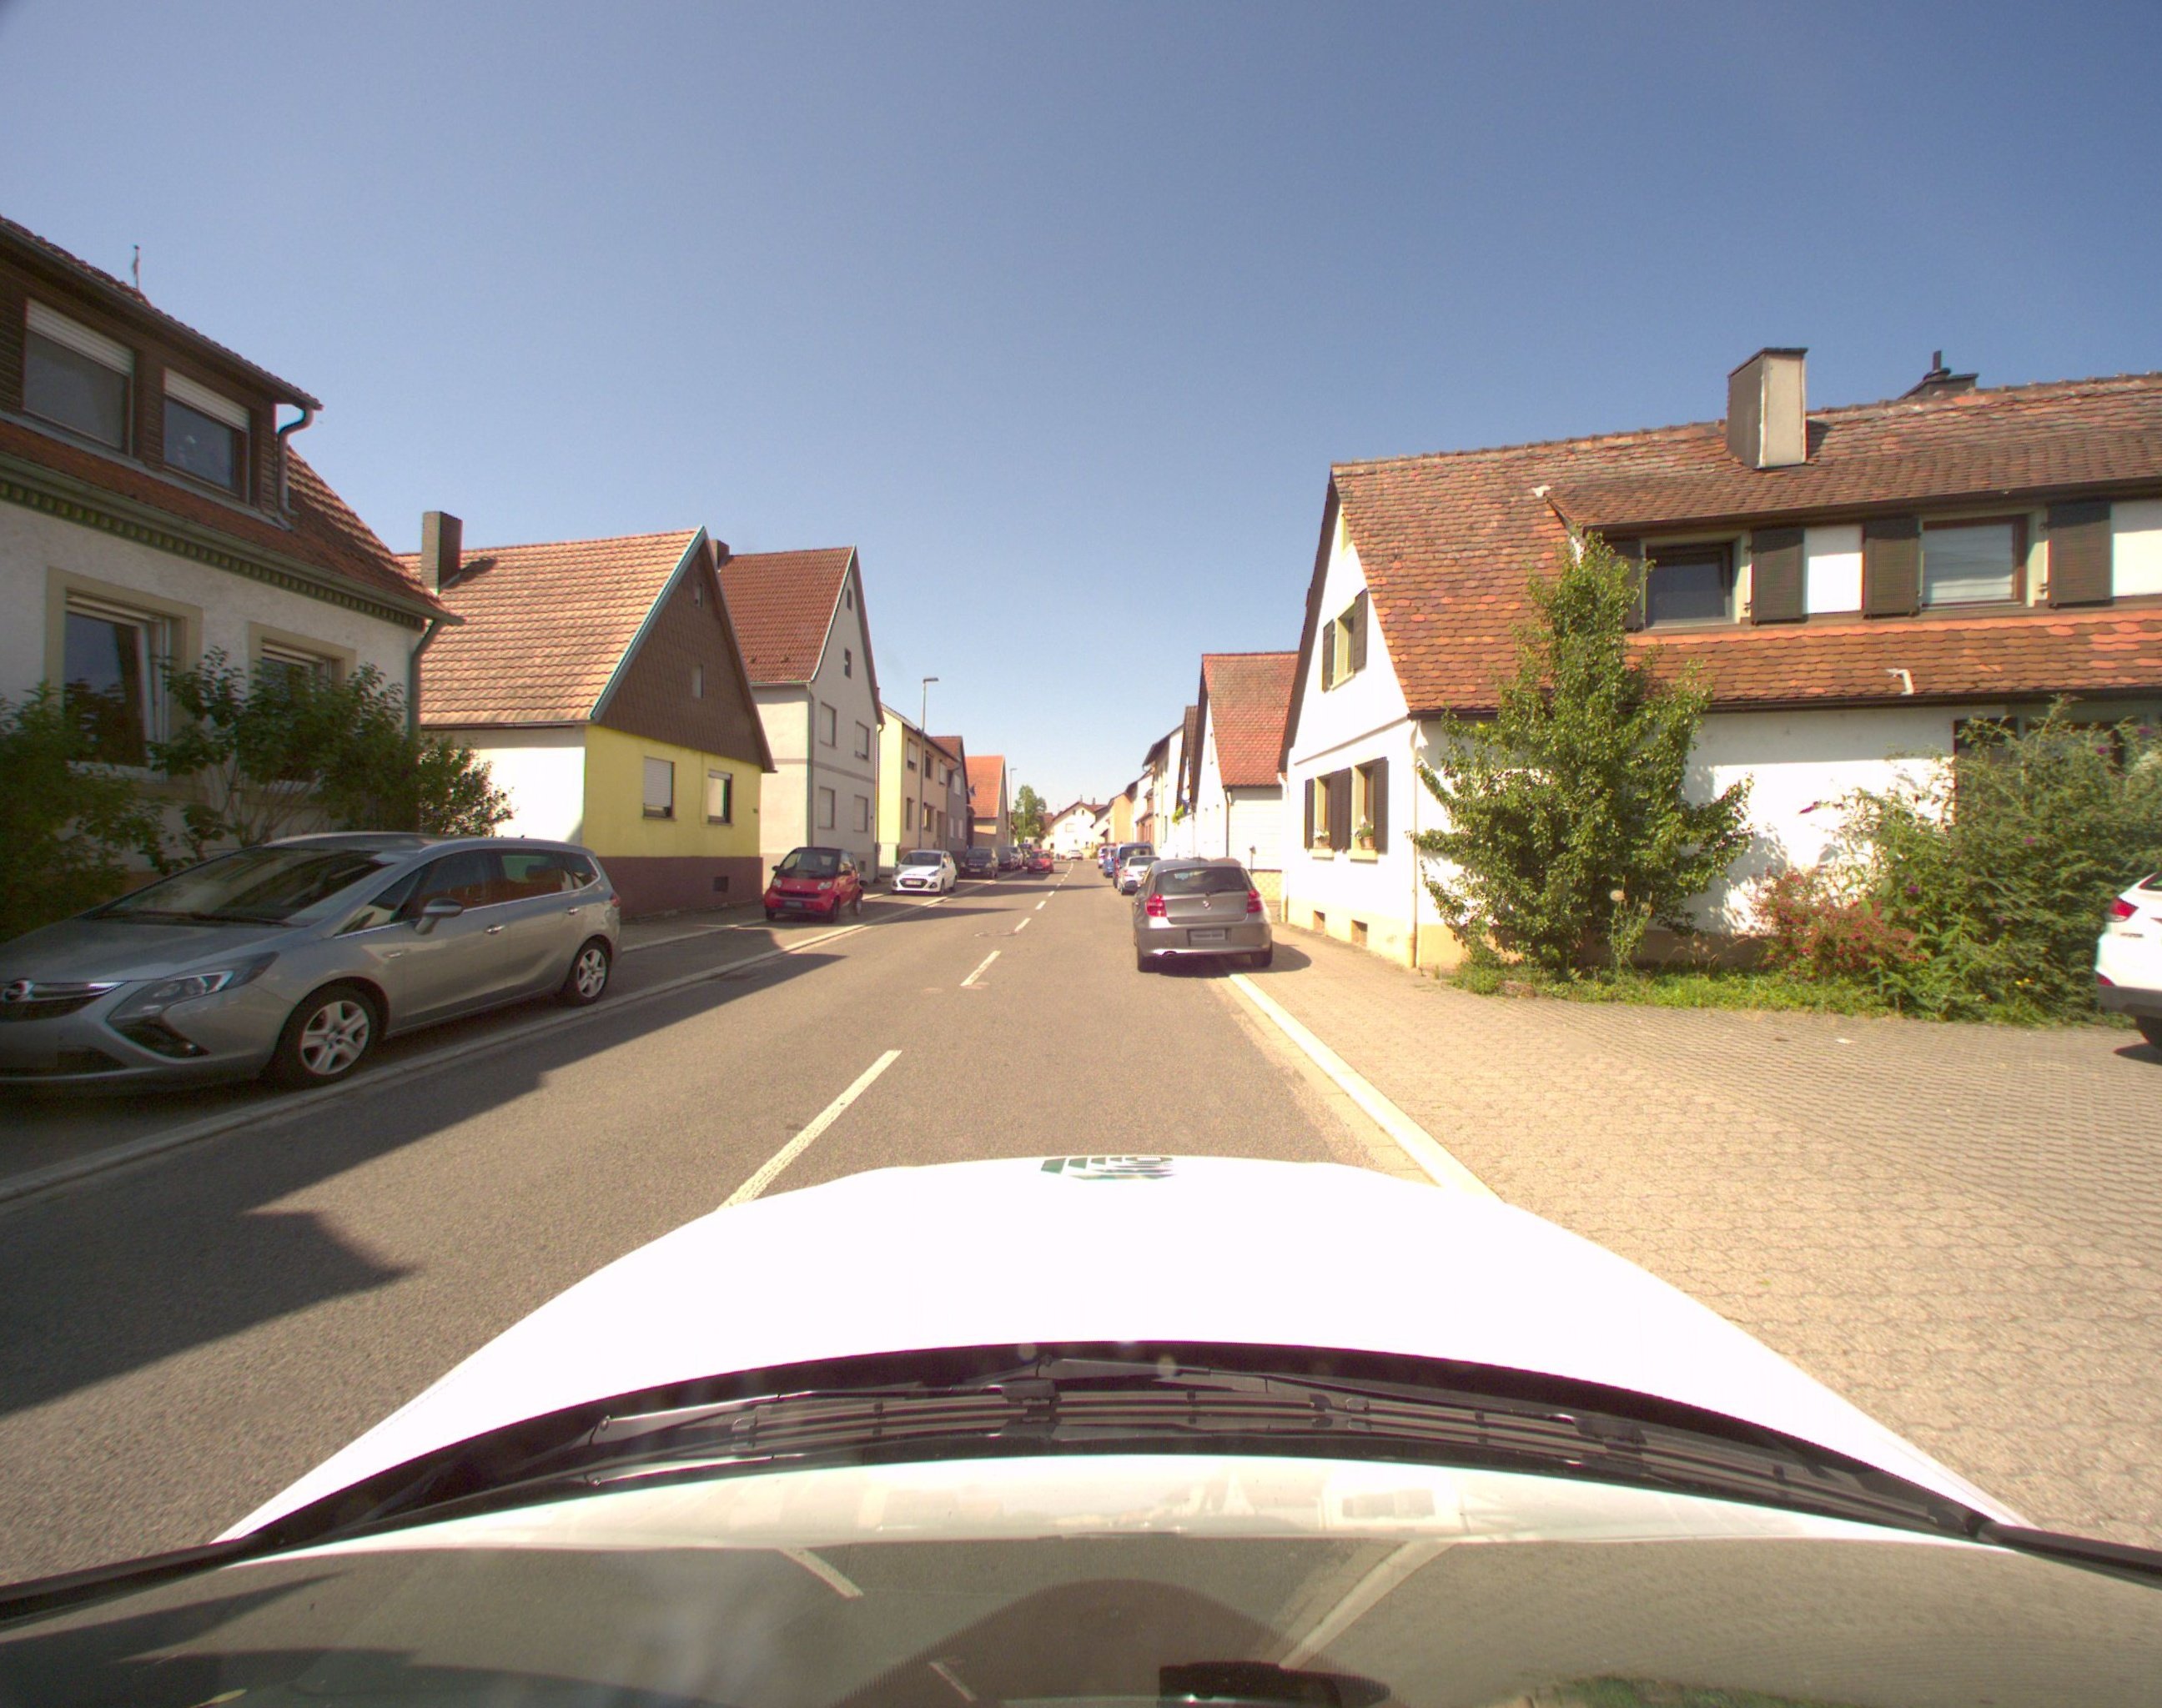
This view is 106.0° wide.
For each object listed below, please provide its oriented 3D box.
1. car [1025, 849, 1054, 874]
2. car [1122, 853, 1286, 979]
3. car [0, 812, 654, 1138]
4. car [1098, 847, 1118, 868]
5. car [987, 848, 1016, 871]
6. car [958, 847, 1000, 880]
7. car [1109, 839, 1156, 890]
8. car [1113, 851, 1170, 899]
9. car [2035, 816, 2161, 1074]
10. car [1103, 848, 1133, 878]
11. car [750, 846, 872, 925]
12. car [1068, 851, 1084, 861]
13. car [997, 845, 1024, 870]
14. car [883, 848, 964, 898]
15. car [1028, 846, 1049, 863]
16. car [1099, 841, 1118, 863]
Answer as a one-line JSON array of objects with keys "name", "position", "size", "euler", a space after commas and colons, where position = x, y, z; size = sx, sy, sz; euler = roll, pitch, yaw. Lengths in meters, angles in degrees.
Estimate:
[{"name": "car", "position": [-2.608, 0.477, 51.691], "size": [1.596, 1.489, 3.625], "euler": [2, 0, 0]}, {"name": "car", "position": [1.540, 0.726, 11.482], "size": [1.699, 1.433, 3.889], "euler": [-2, 0, 0]}, {"name": "car", "position": [-5.650, 0.601, 6.484], "size": [1.866, 1.636, 4.666], "euler": [2, 0, 2]}, {"name": "car", "position": [2.024, 0.228, 61.855], "size": [1.416, 1.515, 3.303], "euler": [2, 0, 0]}, {"name": "car", "position": [-5.166, 0.360, 53.367], "size": [1.499, 1.453, 3.509], "euler": [0, 0, 1]}, {"name": "car", "position": [-5.133, 0.455, 41.440], "size": [1.614, 1.577, 3.961], "euler": [2, 0, 0]}, {"name": "car", "position": [2.040, 0.394, 33.183], "size": [1.644, 1.910, 3.625], "euler": [2, 0, 0]}, {"name": "car", "position": [2.051, 0.690, 28.269], "size": [1.699, 1.496, 3.452], "euler": [2, 0, 0]}, {"name": "car", "position": [9.015, 0.590, 4.898], "size": [4.152, 1.657, 1.815], "euler": [0, -1, 6]}, {"name": "car", "position": [1.979, 0.453, 44.152], "size": [1.416, 1.515, 3.303], "euler": [2, 0, 0]}, {"name": "car", "position": [-5.817, 0.634, 17.866], "size": [1.547, 1.544, 2.989], "euler": [2, 0, 2]}, {"name": "car", "position": [-0.618, 0.220, 107.306], "size": [1.987, 1.288, 4.000], "euler": [0, 0, 0]}, {"name": "car", "position": [-4.981, 0.245, 57.710], "size": [1.522, 1.713, 3.625], "euler": [2, 0, 0]}, {"name": "car", "position": [-5.333, 0.601, 28.149], "size": [1.799, 1.548, 4.405], "euler": [2, 0, 2]}, {"name": "car", "position": [-4.064, 0.034, 78.312], "size": [1.748, 1.624, 3.999], "euler": [0, 0, 0]}, {"name": "car", "position": [2.511, -0.158, 74.897], "size": [1.760, 2.004, 3.451], "euler": [0, 0, 1]}]
